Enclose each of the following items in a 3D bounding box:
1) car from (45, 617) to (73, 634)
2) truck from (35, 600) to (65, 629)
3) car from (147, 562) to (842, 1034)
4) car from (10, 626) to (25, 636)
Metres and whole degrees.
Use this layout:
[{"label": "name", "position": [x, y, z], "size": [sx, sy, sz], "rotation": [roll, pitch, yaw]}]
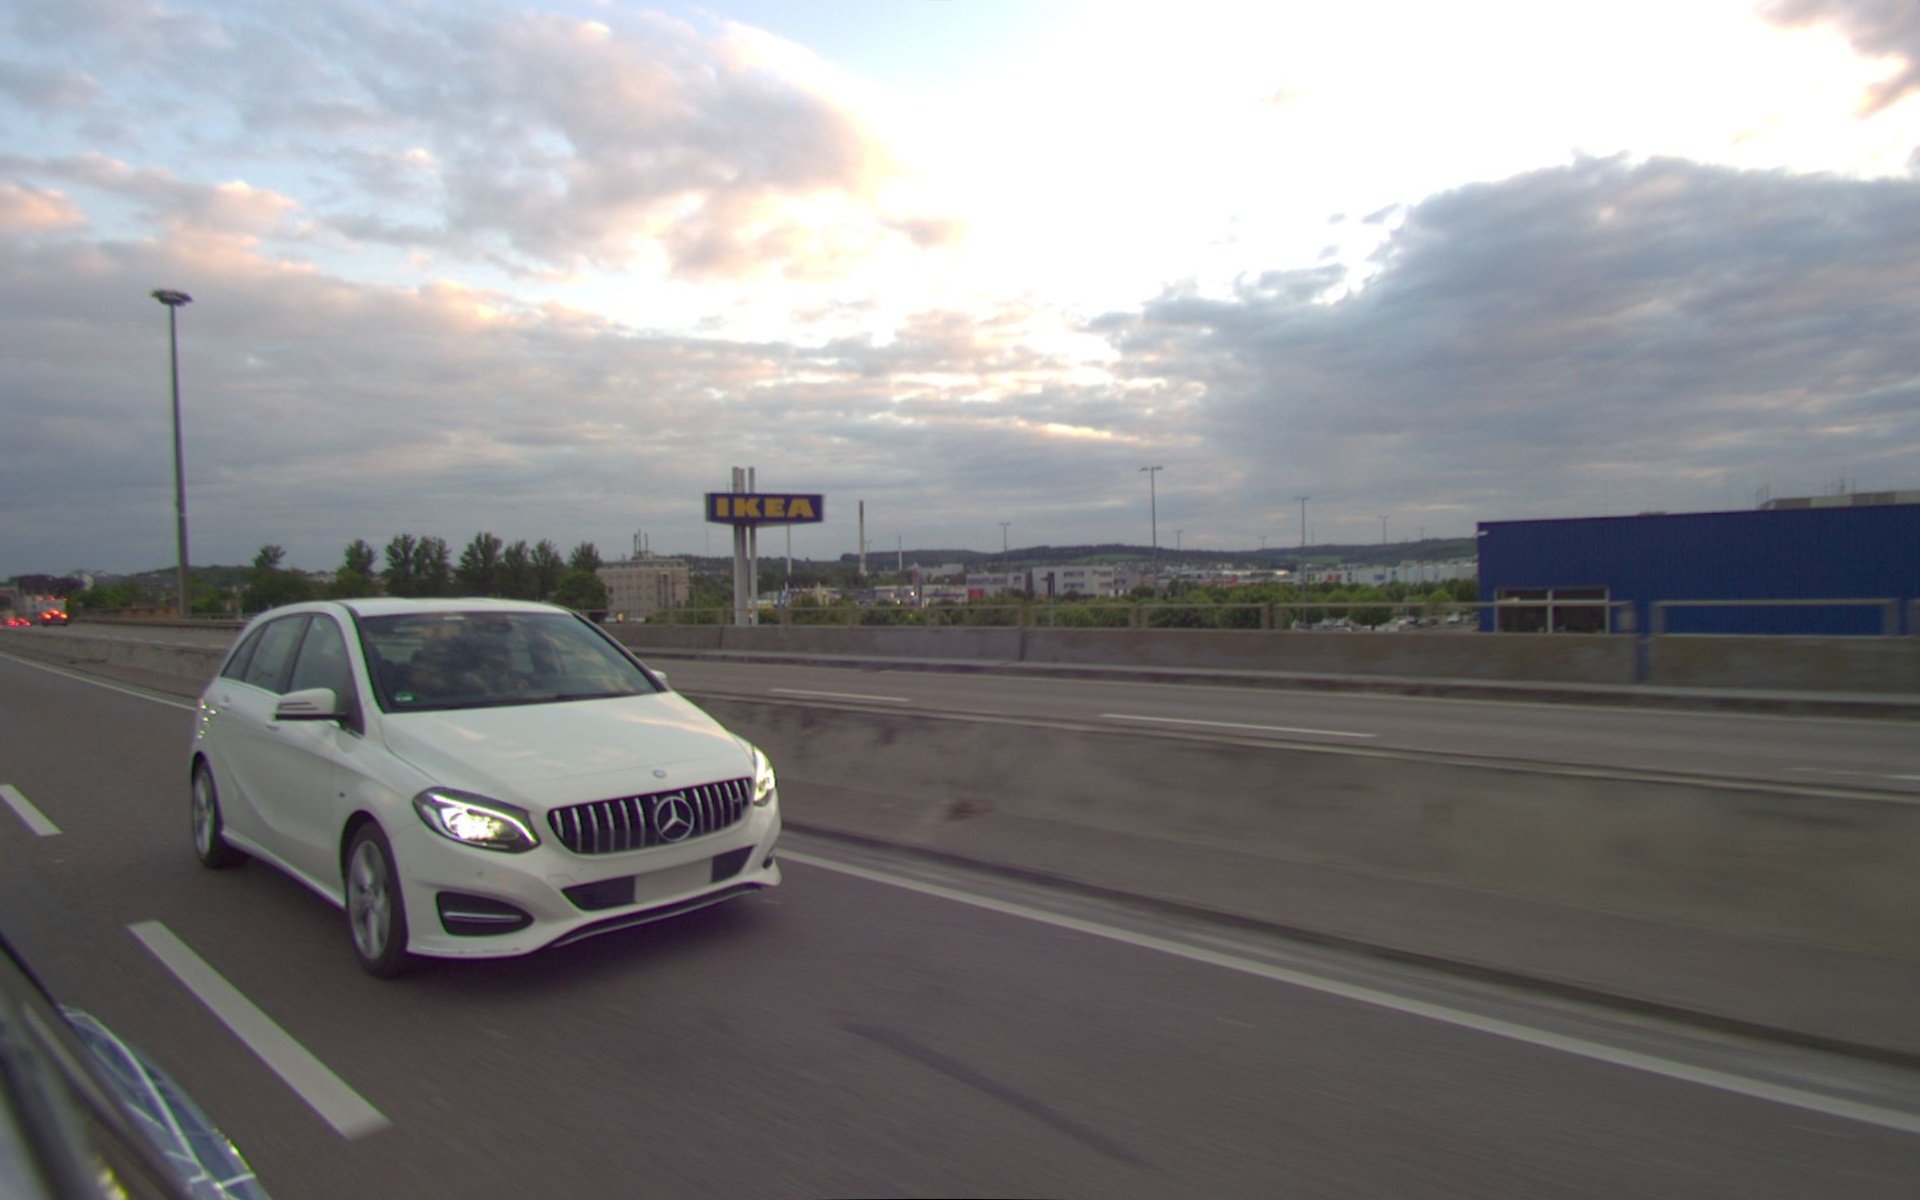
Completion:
[{"label": "car", "position": [-92.300, 2.571, 103.649], "size": [1.954, 1.618, 4.445], "rotation": [-1, 0, -44]}, {"label": "truck", "position": [-109.623, 1.747, 121.910], "size": [2.505, 3.321, 7.453], "rotation": [-1, 0, -43]}, {"label": "car", "position": [-2.889, 0.720, 5.556], "size": [4.781, 1.548, 1.673], "rotation": [-3, -1, 42]}, {"label": "car", "position": [-151.301, 4.967, 162.439], "size": [3.837, 1.452, 1.610], "rotation": [-2, -1, 44]}]
